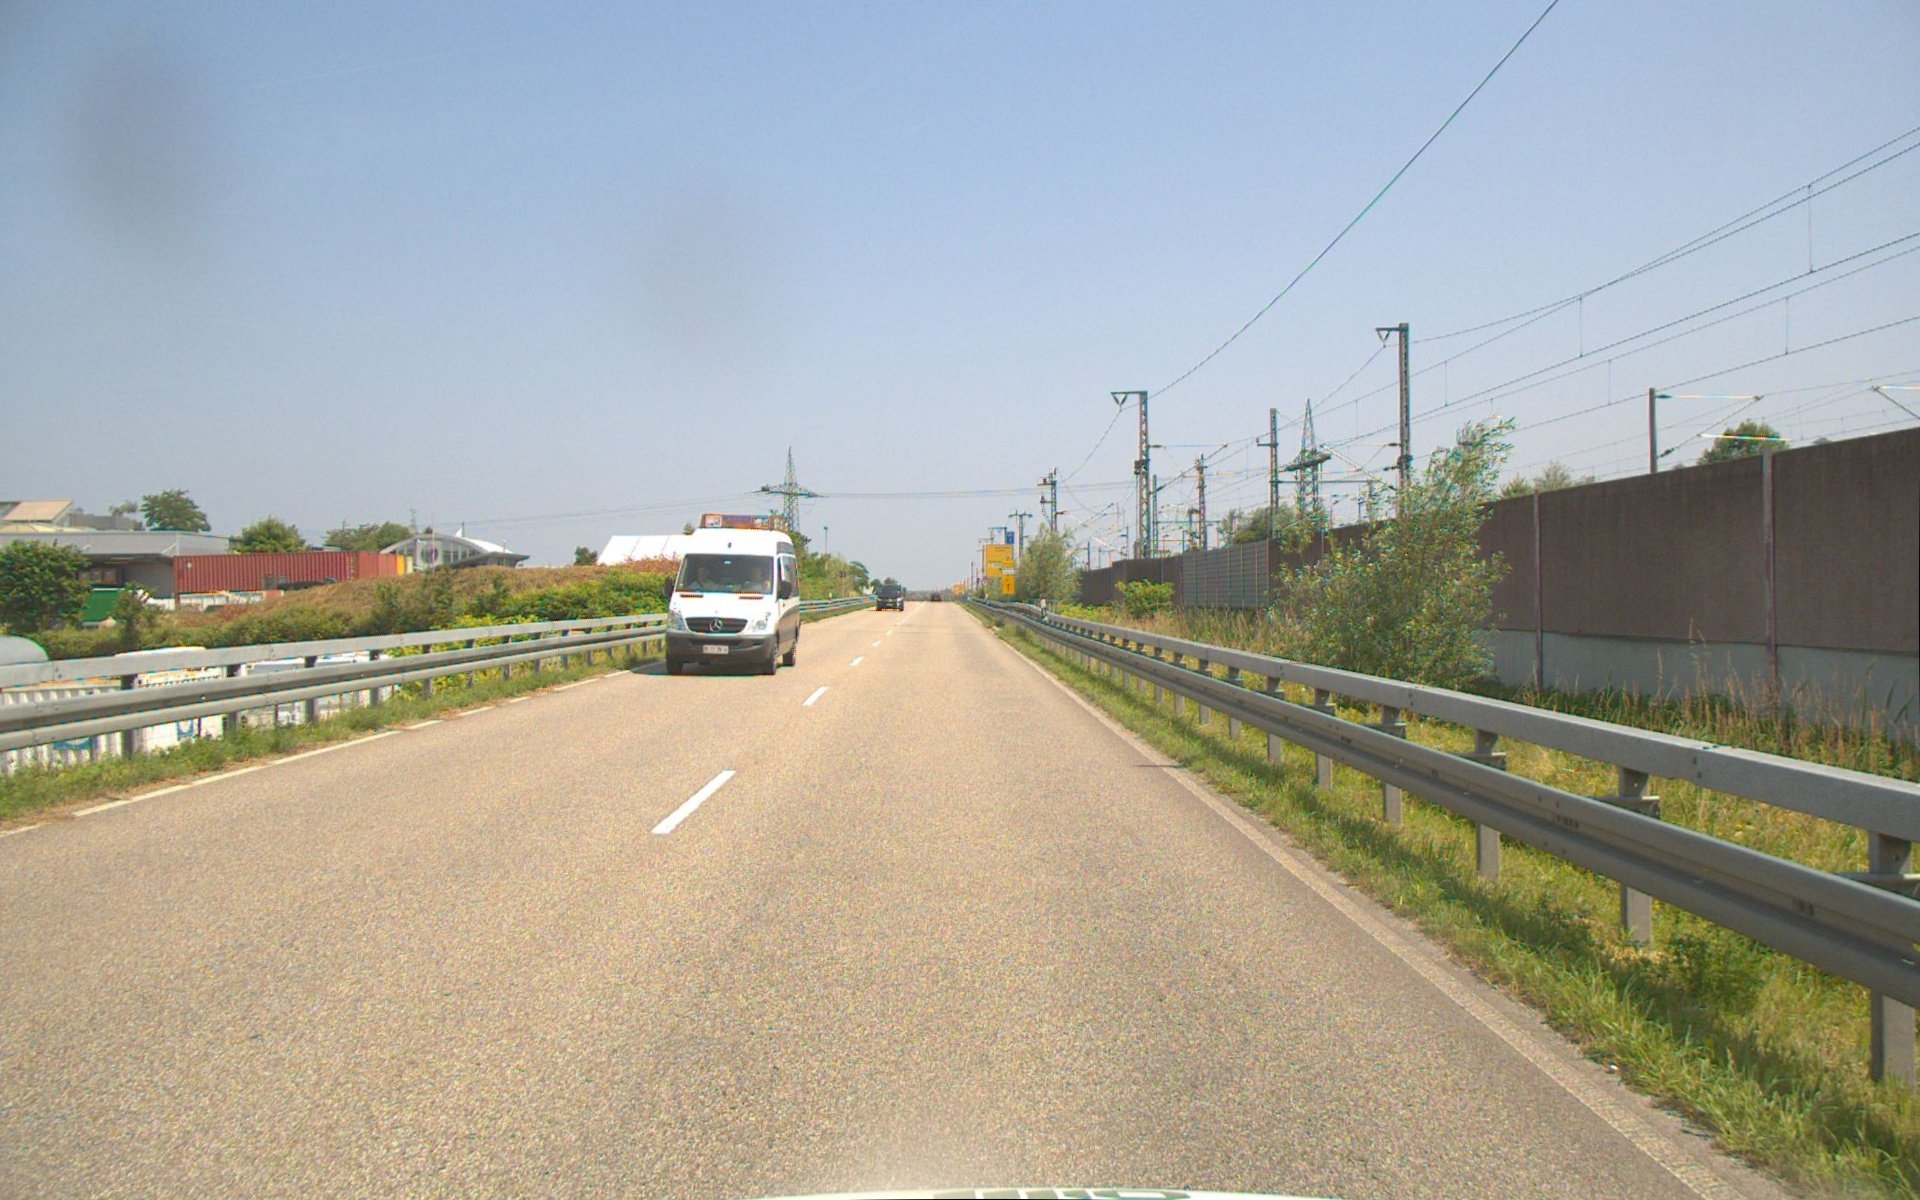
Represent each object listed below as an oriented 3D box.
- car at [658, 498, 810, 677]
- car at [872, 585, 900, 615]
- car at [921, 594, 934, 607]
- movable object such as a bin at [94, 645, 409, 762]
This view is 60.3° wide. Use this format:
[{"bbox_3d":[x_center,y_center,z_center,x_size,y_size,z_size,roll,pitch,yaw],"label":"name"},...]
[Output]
[{"bbox_3d":[-4.141,-0.217,31.490,2.037,3.014,6.728,1,0,-1],"label":"car"},{"bbox_3d":[-5.334,0.009,119.092,1.854,2.049,5.368,1,0,-1],"label":"car"},{"bbox_3d":[-5.163,0.013,262.005,1.954,2.049,3.996,0,0,-5],"label":"car"},{"bbox_3d":[-15.439,2.226,36.376,5.783,2.054,2.446,-3,1,-7],"label":"movable object such as a bin"}]
